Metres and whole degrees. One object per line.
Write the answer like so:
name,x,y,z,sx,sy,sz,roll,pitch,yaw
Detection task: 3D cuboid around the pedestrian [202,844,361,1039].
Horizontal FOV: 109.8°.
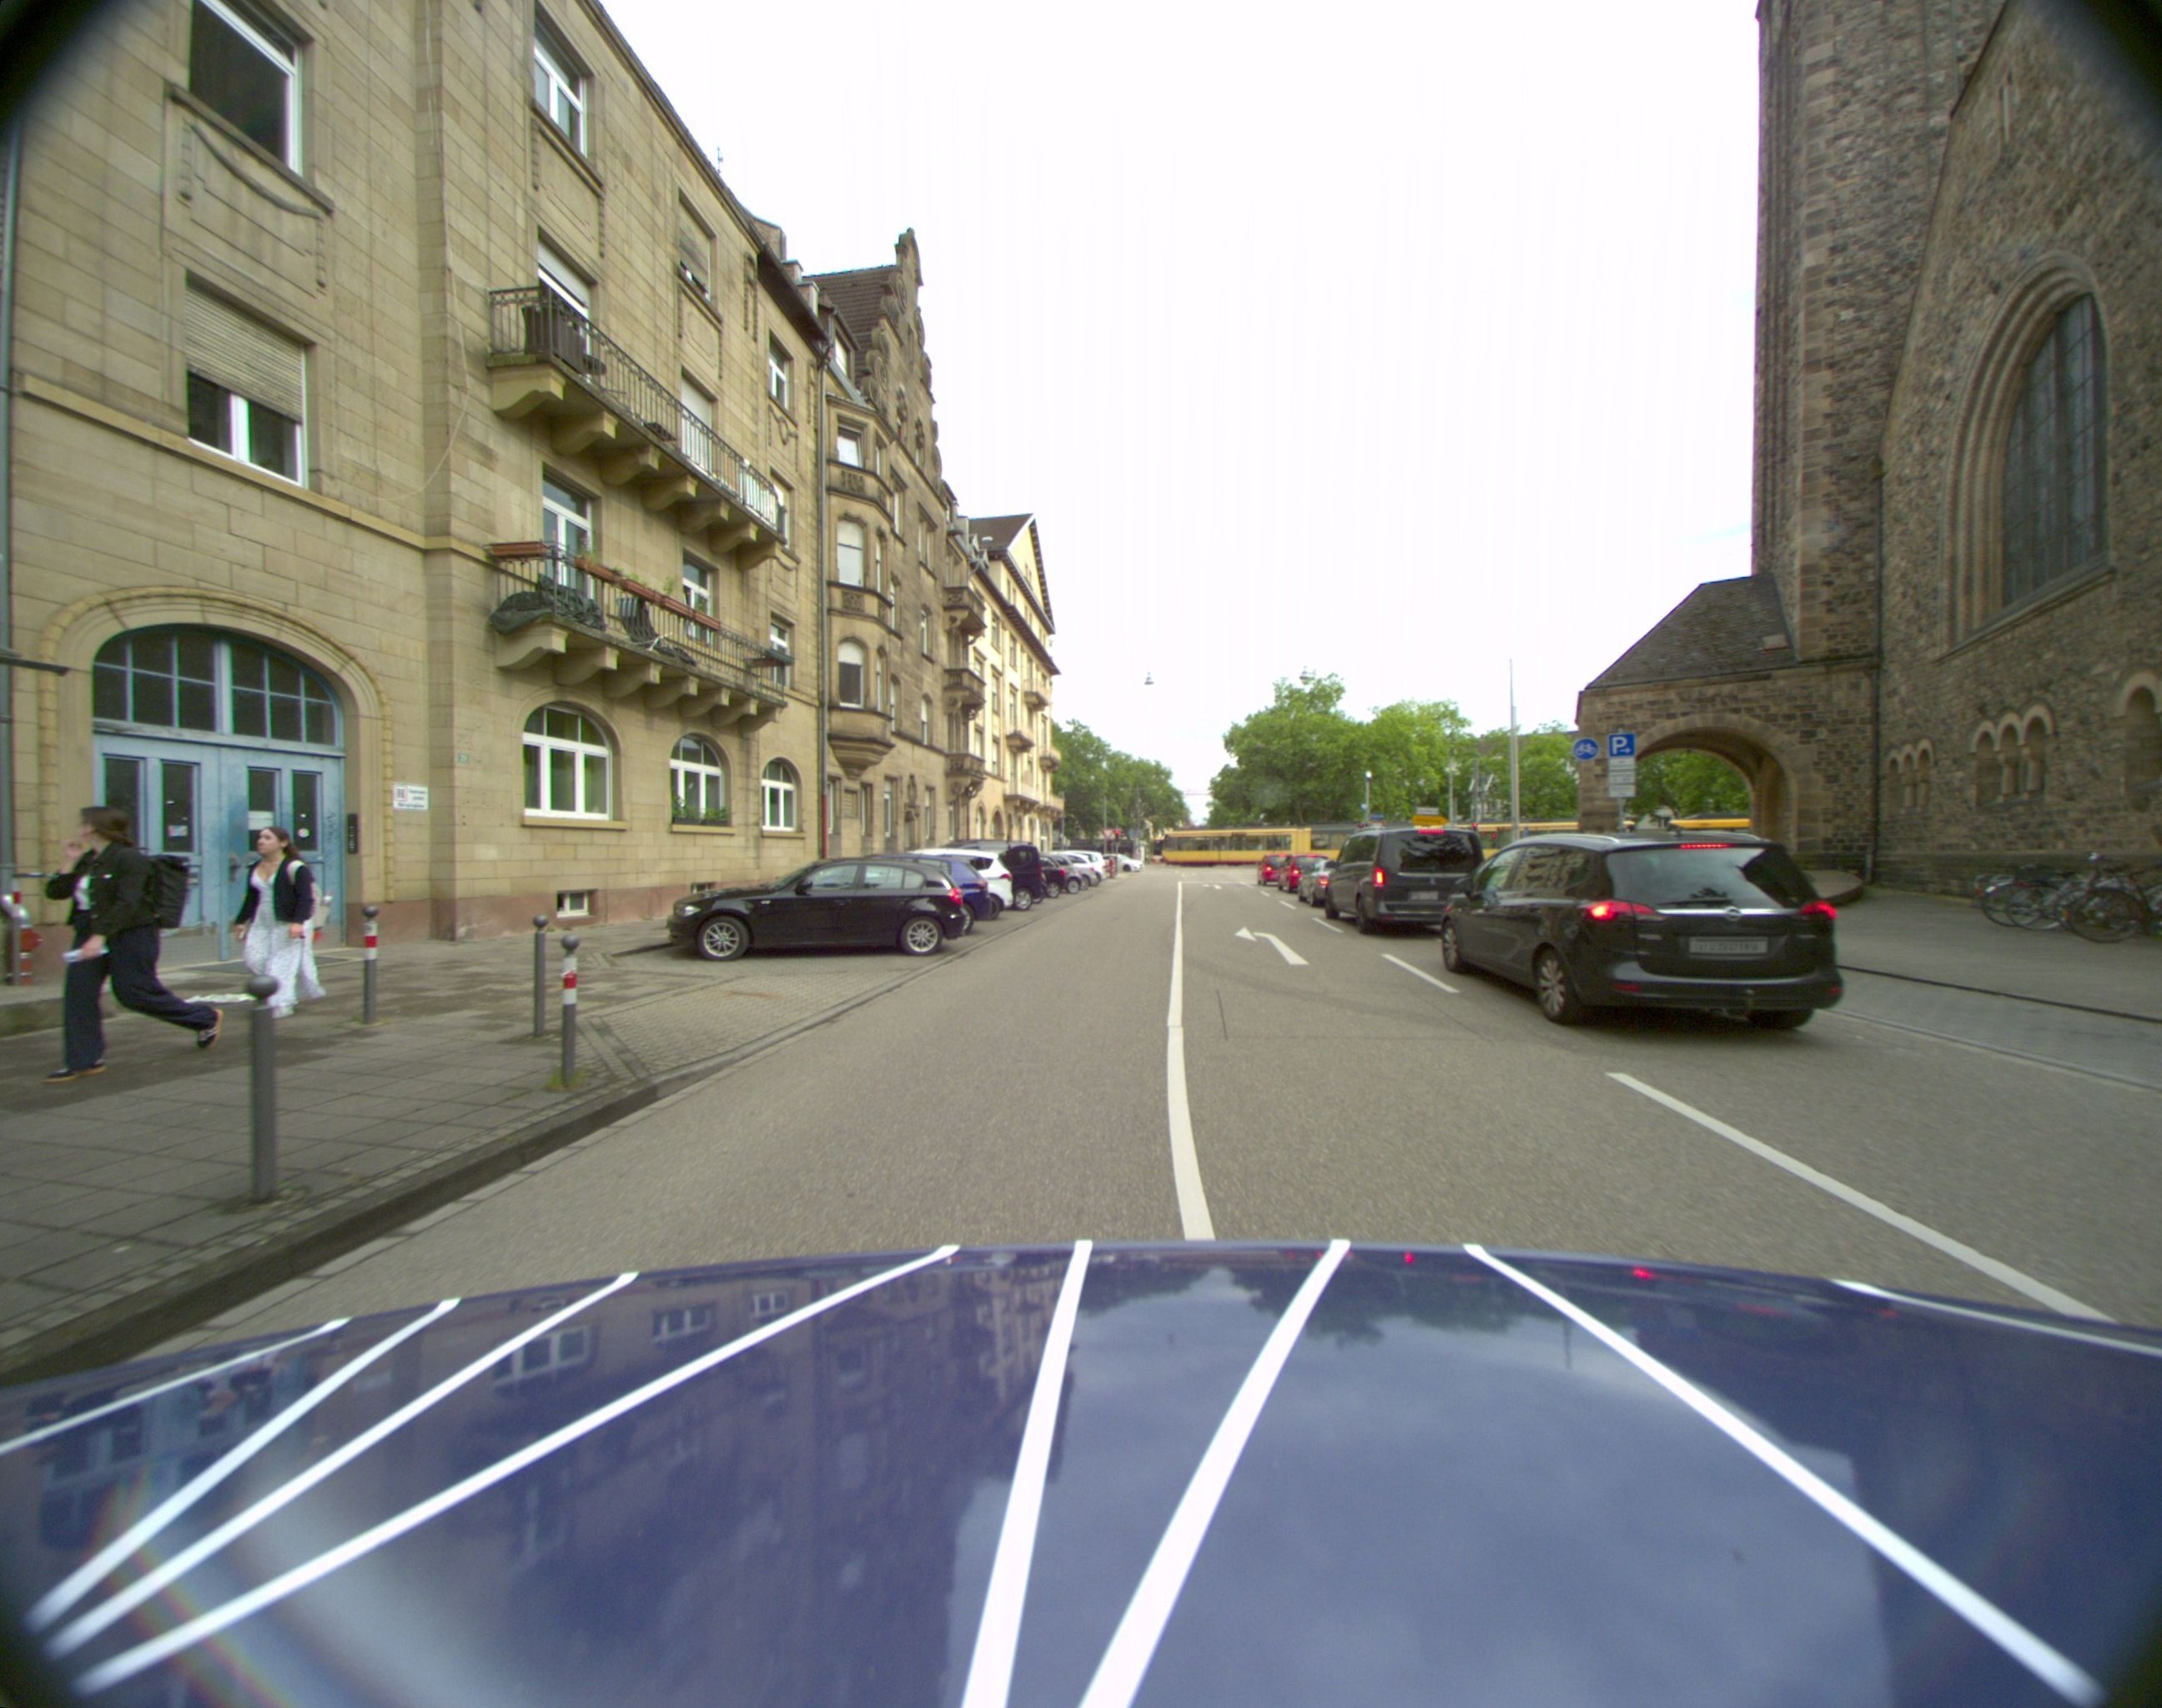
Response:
pedestrian,-6.555,0.676,6.268,0.519,1.502,0.717,1,2,4

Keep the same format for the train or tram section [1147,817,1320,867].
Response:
train or tram section,13.420,-1.058,68.313,14.995,4.070,3.661,0,2,34

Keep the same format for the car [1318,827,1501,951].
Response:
car,6.009,0.552,14.667,1.915,1.943,5.287,-1,0,8

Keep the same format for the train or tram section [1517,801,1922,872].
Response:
train or tram section,40.415,-1.061,50.163,19.890,4.070,3.634,0,2,34

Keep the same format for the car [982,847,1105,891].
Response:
car,-1.542,0.644,32.009,4.760,1.676,1.932,2,1,-28

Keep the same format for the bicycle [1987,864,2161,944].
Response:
bicycle,14.956,0.725,11.318,1.780,1.124,0.662,0,1,20

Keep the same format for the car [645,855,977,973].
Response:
car,-3.867,0.855,11.217,4.267,1.469,1.681,3,0,-25

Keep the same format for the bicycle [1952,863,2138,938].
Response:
bicycle,15.204,0.714,12.041,1.781,1.118,0.568,0,1,20

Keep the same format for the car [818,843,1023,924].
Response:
car,-3.508,0.664,16.796,4.008,1.592,1.761,3,-1,-32

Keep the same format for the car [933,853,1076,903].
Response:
car,-2.569,0.783,25.899,4.473,1.543,1.847,1,1,-31

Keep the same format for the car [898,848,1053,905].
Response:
car,-3.152,0.691,22.892,4.079,1.445,2.026,3,0,-31

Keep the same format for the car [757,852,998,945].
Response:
car,-3.769,0.816,14.084,4.005,1.525,1.928,3,-1,-21

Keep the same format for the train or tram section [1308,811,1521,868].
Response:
train or tram section,25.914,-1.092,59.923,14.995,4.070,3.588,0,2,34

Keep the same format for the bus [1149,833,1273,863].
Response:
bus,13.362,-0.623,79.075,12.344,2.840,3.298,0,2,33

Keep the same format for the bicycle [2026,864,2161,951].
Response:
bicycle,14.662,0.723,10.563,1.780,1.160,0.743,0,1,20

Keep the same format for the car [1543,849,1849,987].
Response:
car,8.318,0.743,10.759,1.649,1.500,3.773,-2,1,8

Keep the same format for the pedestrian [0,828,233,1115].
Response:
pedestrian,-5.991,0.673,4.754,0.519,1.653,0.717,1,2,4

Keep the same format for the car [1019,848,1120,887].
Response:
car,-0.540,0.634,35.428,4.231,1.673,1.911,1,2,-26

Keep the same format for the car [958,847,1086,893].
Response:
car,-2.189,0.634,28.797,4.474,1.564,1.743,3,0,-31

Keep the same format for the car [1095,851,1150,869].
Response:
car,3.350,0.509,61.199,3.989,1.387,1.884,0,1,33

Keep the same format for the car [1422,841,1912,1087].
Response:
car,5.036,0.753,7.523,1.848,1.674,4.551,-1,0,8

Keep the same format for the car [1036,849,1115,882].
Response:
car,-0.284,0.646,40.795,3.843,1.552,1.789,3,1,-38

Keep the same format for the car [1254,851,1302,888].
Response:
car,8.890,0.678,34.519,1.652,1.519,3.896,2,0,8

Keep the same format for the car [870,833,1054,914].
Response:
car,-3.059,0.535,19.821,4.291,1.895,1.875,3,0,-33

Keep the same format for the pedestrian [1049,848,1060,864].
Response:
pedestrian,-2.863,0.228,82.600,0.876,1.686,0.744,0,2,33

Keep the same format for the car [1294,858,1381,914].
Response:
car,7.101,0.823,21.406,1.707,1.279,4.044,2,1,10

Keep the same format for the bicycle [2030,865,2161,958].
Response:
bicycle,13.849,0.730,9.861,1.780,1.145,0.743,0,1,20

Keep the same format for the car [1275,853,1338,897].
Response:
car,8.355,0.734,28.450,1.605,1.449,3.719,2,1,7
